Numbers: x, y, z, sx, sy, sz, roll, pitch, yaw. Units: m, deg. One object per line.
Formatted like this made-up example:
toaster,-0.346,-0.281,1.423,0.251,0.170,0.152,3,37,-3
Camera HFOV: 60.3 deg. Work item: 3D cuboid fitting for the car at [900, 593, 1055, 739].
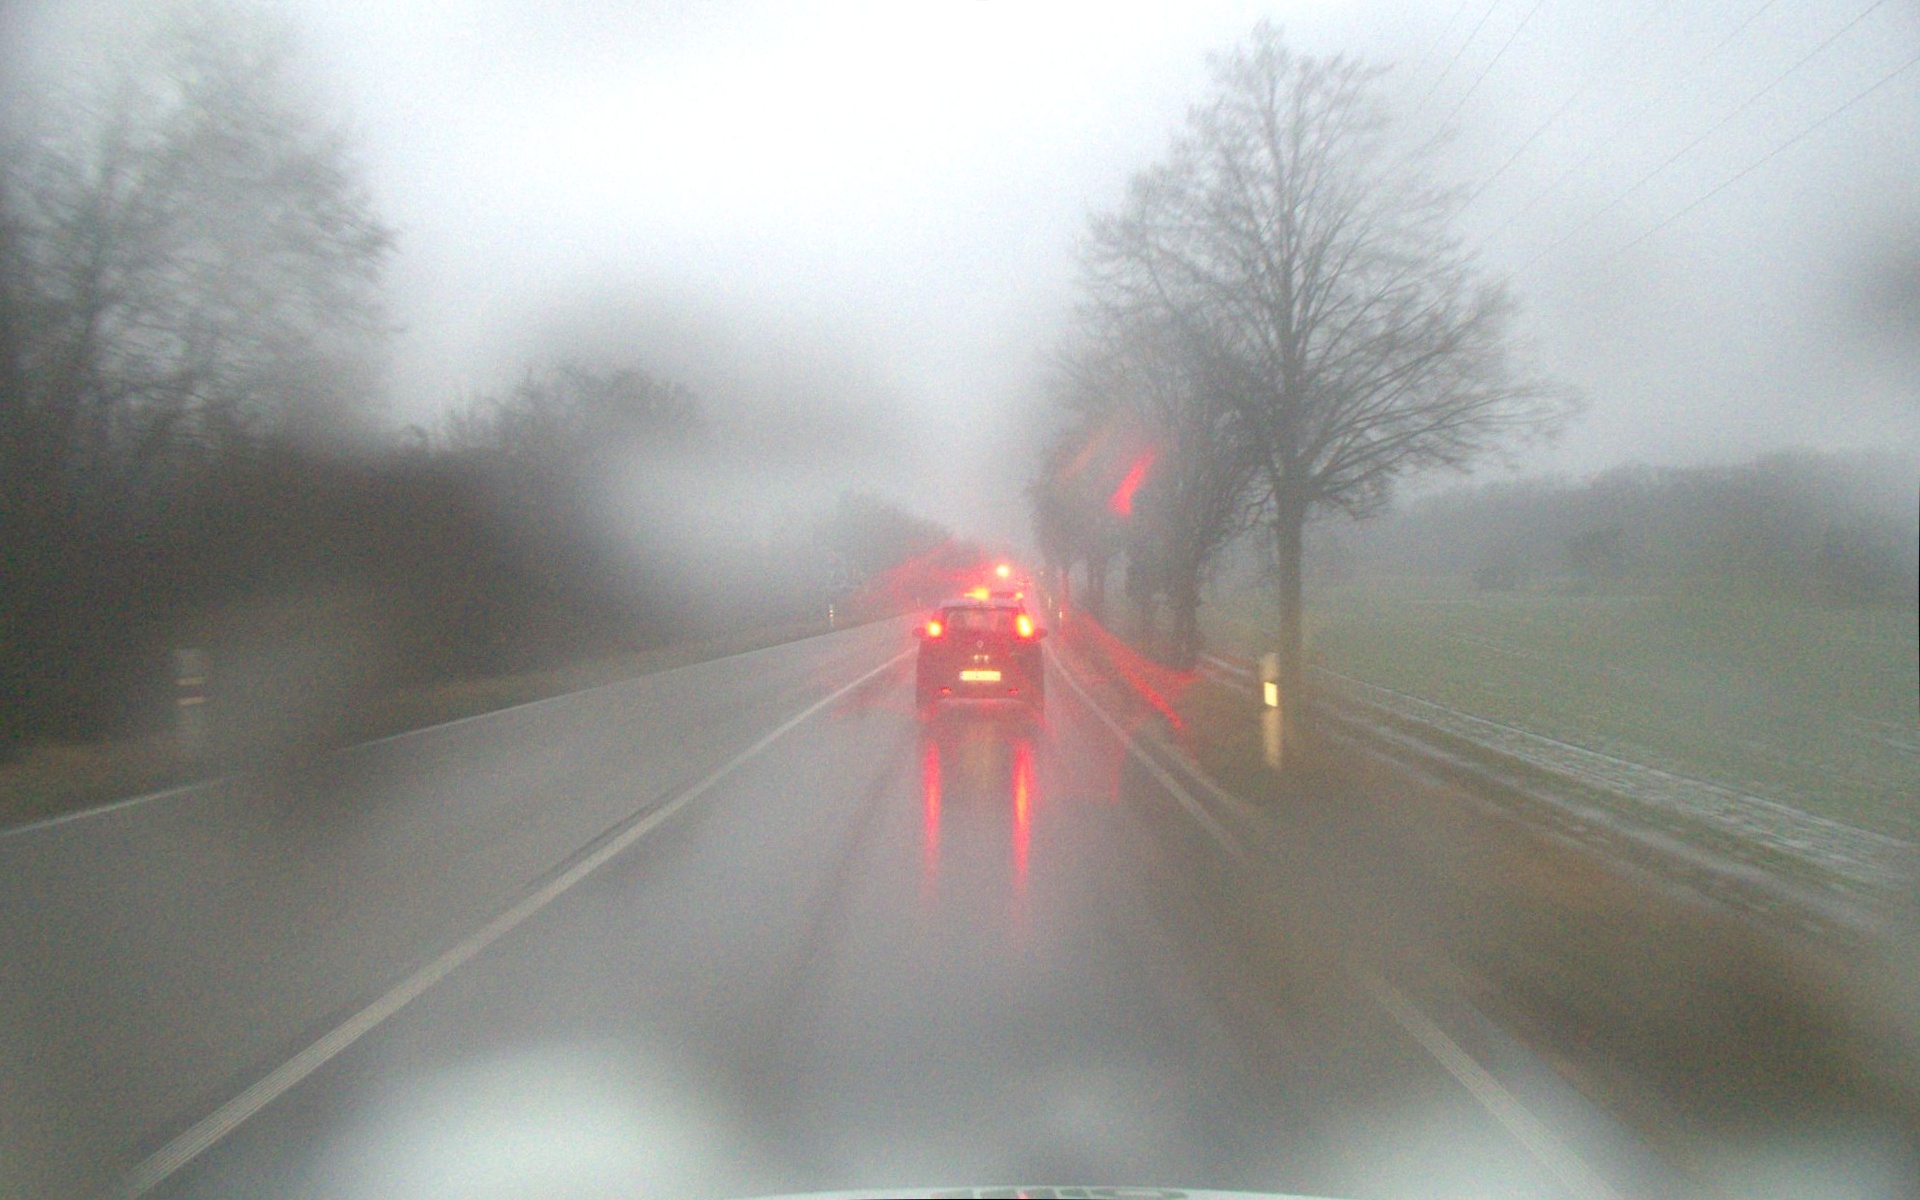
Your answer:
car,0.321,0.829,22.928,1.952,1.782,4.002,0,1,3

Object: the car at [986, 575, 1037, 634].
car,2.347,0.163,74.705,1.952,2.046,4.006,6,6,4
